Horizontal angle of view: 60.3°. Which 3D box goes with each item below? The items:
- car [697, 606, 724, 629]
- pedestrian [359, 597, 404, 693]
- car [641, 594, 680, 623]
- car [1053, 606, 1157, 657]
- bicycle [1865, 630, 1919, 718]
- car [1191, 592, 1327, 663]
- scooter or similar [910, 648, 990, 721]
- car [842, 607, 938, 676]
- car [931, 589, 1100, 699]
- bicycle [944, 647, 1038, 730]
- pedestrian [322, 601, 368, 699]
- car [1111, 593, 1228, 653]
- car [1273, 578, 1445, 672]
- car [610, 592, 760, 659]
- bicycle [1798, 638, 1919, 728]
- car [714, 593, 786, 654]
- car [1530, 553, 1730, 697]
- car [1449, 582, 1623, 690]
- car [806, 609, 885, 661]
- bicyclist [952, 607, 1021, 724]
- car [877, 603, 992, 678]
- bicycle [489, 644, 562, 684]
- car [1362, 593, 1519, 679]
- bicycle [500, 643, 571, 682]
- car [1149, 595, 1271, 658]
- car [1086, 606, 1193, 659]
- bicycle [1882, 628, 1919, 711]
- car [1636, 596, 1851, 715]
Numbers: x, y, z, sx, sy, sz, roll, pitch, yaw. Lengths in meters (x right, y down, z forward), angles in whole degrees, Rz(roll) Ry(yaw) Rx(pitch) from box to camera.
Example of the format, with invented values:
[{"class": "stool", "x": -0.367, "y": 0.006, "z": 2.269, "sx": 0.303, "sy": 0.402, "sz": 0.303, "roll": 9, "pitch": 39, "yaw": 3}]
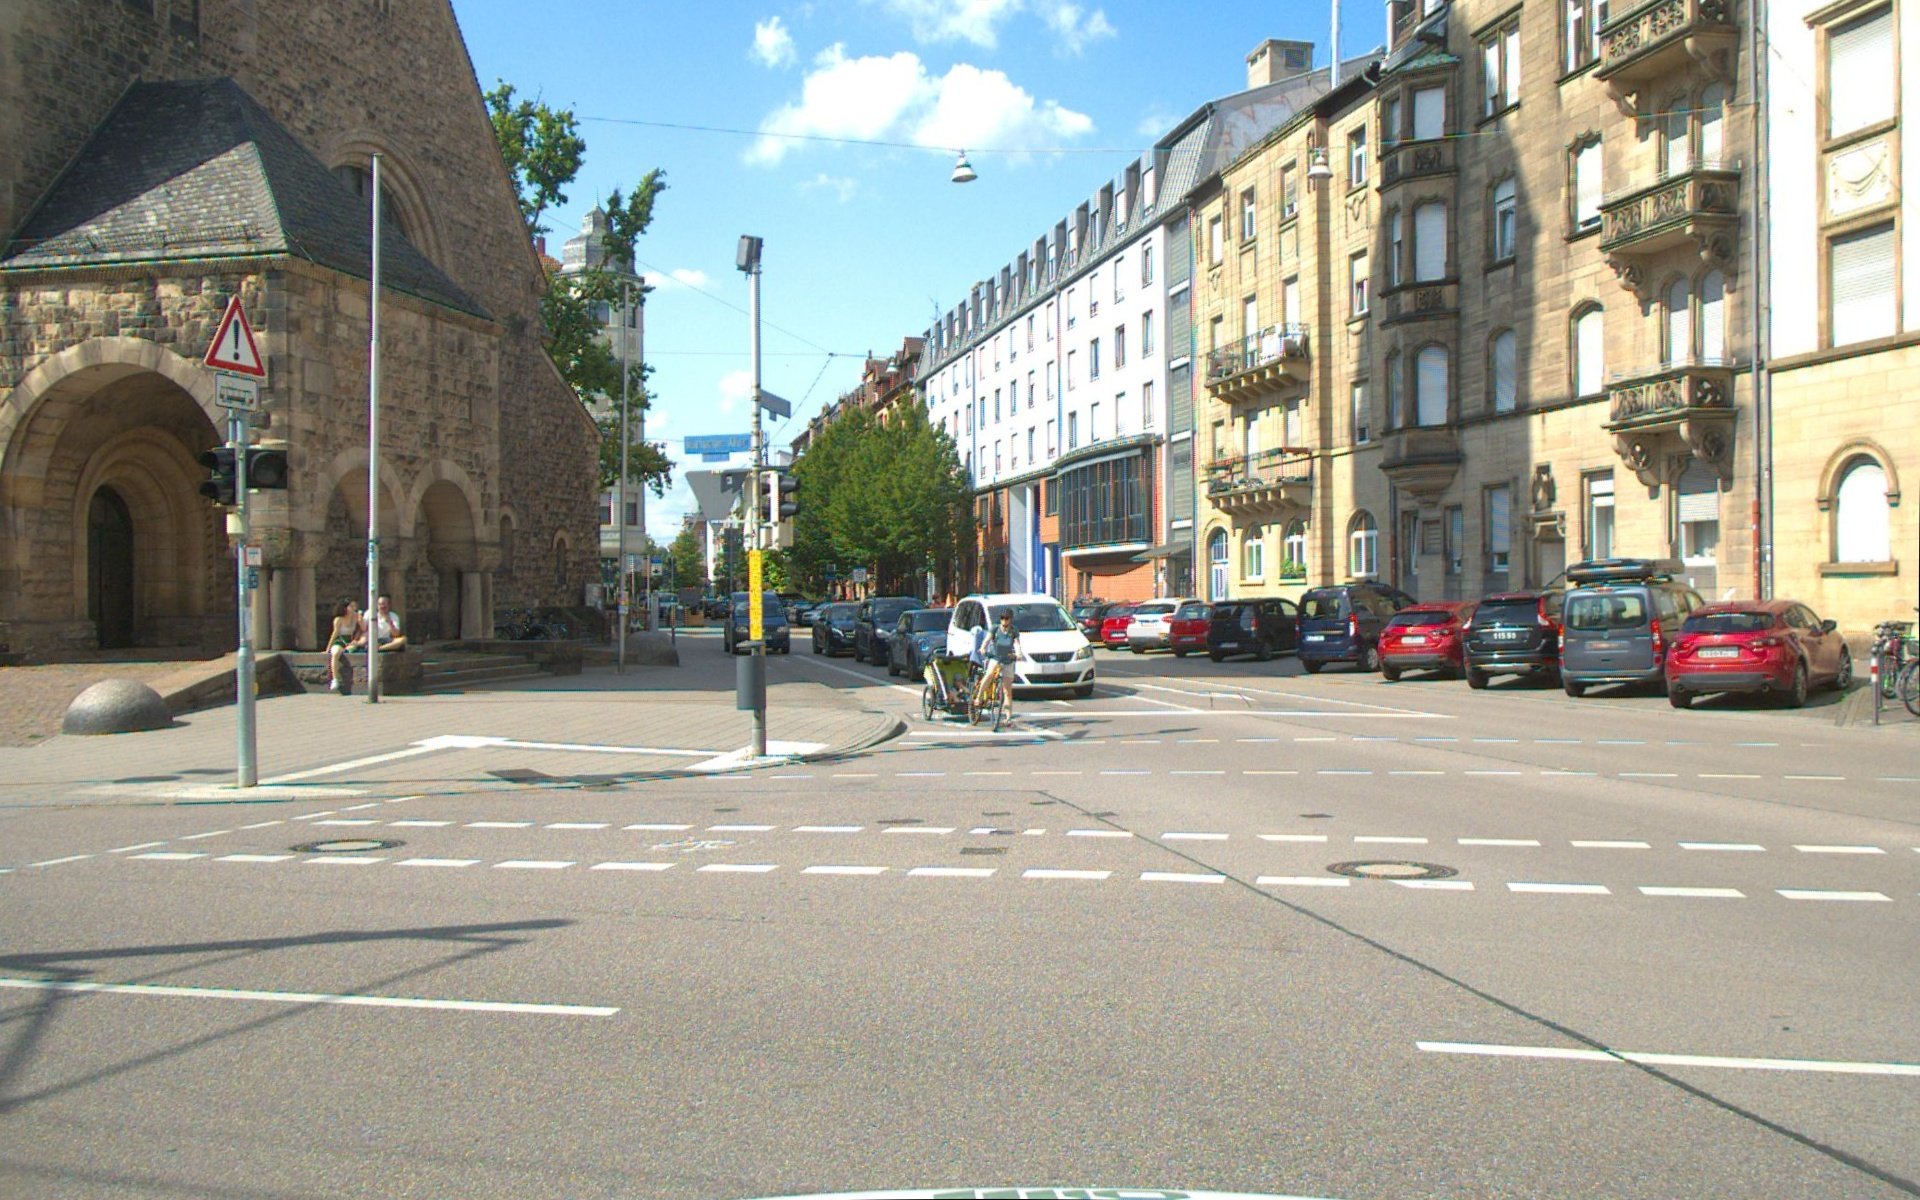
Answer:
[{"class": "car", "x": -21.138, "y": 1.453, "z": 139.825, "sx": 1.959, "sy": 1.847, "sz": 3.987, "roll": 0, "pitch": 0, "yaw": -13}, {"class": "pedestrian", "x": -9.104, "y": 0.702, "z": 26.025, "sx": 0.552, "sy": 1.430, "sz": 0.511, "roll": -3, "pitch": 7, "yaw": -35}, {"class": "car", "x": -14.403, "y": 0.409, "z": 79.686, "sx": 1.607, "sy": 1.348, "sz": 3.737, "roll": -1, "pitch": 0, "yaw": -7}, {"class": "car", "x": 4.754, "y": 1.007, "z": 53.883, "sx": 1.576, "sy": 1.421, "sz": 3.555, "roll": -2, "pitch": 1, "yaw": 40}, {"class": "bicycle", "x": 12.592, "y": 0.905, "z": 21.226, "sx": 1.893, "sy": 1.036, "sz": 0.537, "roll": -3, "pitch": 0, "yaw": -18}, {"class": "car", "x": 7.757, "y": 0.690, "z": 42.675, "sx": 1.679, "sy": 1.573, "sz": 3.980, "roll": -2, "pitch": 1, "yaw": 40}, {"class": "scooter or similar", "x": -0.155, "y": 1.211, "z": 24.062, "sx": 0.874, "sy": 0.994, "sz": 1.125, "roll": 0, "pitch": 0, "yaw": -18}, {"class": "car", "x": -1.842, "y": 1.013, "z": 42.198, "sx": 1.669, "sy": 1.624, "sz": 4.057, "roll": 0, "pitch": 0, "yaw": -14}, {"class": "car", "x": 0.871, "y": 0.711, "z": 29.190, "sx": 1.778, "sy": 1.770, "sz": 4.646, "roll": 0, "pitch": 0, "yaw": -14}, {"class": "bicycle", "x": 0.394, "y": 1.172, "z": 22.476, "sx": 0.640, "sy": 1.006, "sz": 2.124, "roll": 0, "pitch": 0, "yaw": -17}, {"class": "pedestrian", "x": -9.561, "y": 0.771, "z": 25.701, "sx": 0.552, "sy": 1.430, "sz": 0.511, "roll": -3, "pitch": 7, "yaw": -35}, {"class": "car", "x": 6.170, "y": 0.665, "z": 48.387, "sx": 1.576, "sy": 1.526, "sz": 3.757, "roll": -2, "pitch": 1, "yaw": 40}, {"class": "car", "x": 8.985, "y": 0.537, "z": 37.083, "sx": 3.971, "sy": 1.856, "sz": 1.885, "roll": -4, "pitch": 1, "yaw": -44}, {"class": "car", "x": -7.350, "y": 0.669, "z": 43.994, "sx": 3.903, "sy": 1.681, "sz": 2.019, "roll": -1, "pitch": 0, "yaw": 44}, {"class": "bicycle", "x": 11.318, "y": 0.993, "z": 20.232, "sx": 0.533, "sy": 1.036, "sz": 1.909, "roll": -3, "pitch": 0, "yaw": -29}, {"class": "car", "x": -6.415, "y": 0.680, "z": 50.309, "sx": 1.778, "sy": 1.693, "sz": 4.060, "roll": -1, "pitch": 1, "yaw": -13}, {"class": "car", "x": 11.248, "y": 0.374, "z": 27.631, "sx": 1.931, "sy": 2.118, "sz": 3.980, "roll": -2, "pitch": 1, "yaw": 40}, {"class": "car", "x": 10.573, "y": 0.618, "z": 30.205, "sx": 1.679, "sy": 1.697, "sz": 3.980, "roll": -2, "pitch": 1, "yaw": 40}, {"class": "car", "x": -3.358, "y": 0.972, "z": 47.917, "sx": 1.669, "sy": 1.415, "sz": 3.847, "roll": 0, "pitch": 0, "yaw": -14}, {"class": "bicyclist", "x": 0.357, "y": 0.877, "z": 22.541, "sx": 0.640, "sy": 1.530, "sz": 0.917, "roll": -2, "pitch": 0, "yaw": -17}, {"class": "car", "x": -0.593, "y": 0.818, "z": 35.139, "sx": 1.641, "sy": 1.476, "sz": 3.722, "roll": 0, "pitch": 0, "yaw": -14}, {"class": "bicycle", "x": -8.389, "y": 1.239, "z": 31.920, "sx": 1.333, "sy": 0.754, "sz": 0.339, "roll": 0, "pitch": 0, "yaw": 10}, {"class": "car", "x": 9.838, "y": 0.703, "z": 33.672, "sx": 1.877, "sy": 1.469, "sz": 3.987, "roll": -2, "pitch": 1, "yaw": 35}, {"class": "bicycle", "x": -8.305, "y": 1.216, "z": 32.349, "sx": 1.333, "sy": 0.754, "sz": 0.339, "roll": 0, "pitch": 0, "yaw": 10}, {"class": "car", "x": 6.928, "y": 0.710, "z": 45.619, "sx": 1.576, "sy": 1.481, "sz": 3.757, "roll": -2, "pitch": 1, "yaw": 40}, {"class": "car", "x": 5.611, "y": 1.004, "z": 51.393, "sx": 1.576, "sy": 1.421, "sz": 3.555, "roll": -2, "pitch": 1, "yaw": 40}, {"class": "bicycle", "x": 13.297, "y": 0.879, "z": 22.044, "sx": 1.890, "sy": 1.036, "sz": 0.538, "roll": -3, "pitch": 0, "yaw": -15}, {"class": "car", "x": 11.676, "y": 0.774, "z": 24.525, "sx": 1.931, "sy": 1.466, "sz": 3.980, "roll": -2, "pitch": 1, "yaw": 40}]
